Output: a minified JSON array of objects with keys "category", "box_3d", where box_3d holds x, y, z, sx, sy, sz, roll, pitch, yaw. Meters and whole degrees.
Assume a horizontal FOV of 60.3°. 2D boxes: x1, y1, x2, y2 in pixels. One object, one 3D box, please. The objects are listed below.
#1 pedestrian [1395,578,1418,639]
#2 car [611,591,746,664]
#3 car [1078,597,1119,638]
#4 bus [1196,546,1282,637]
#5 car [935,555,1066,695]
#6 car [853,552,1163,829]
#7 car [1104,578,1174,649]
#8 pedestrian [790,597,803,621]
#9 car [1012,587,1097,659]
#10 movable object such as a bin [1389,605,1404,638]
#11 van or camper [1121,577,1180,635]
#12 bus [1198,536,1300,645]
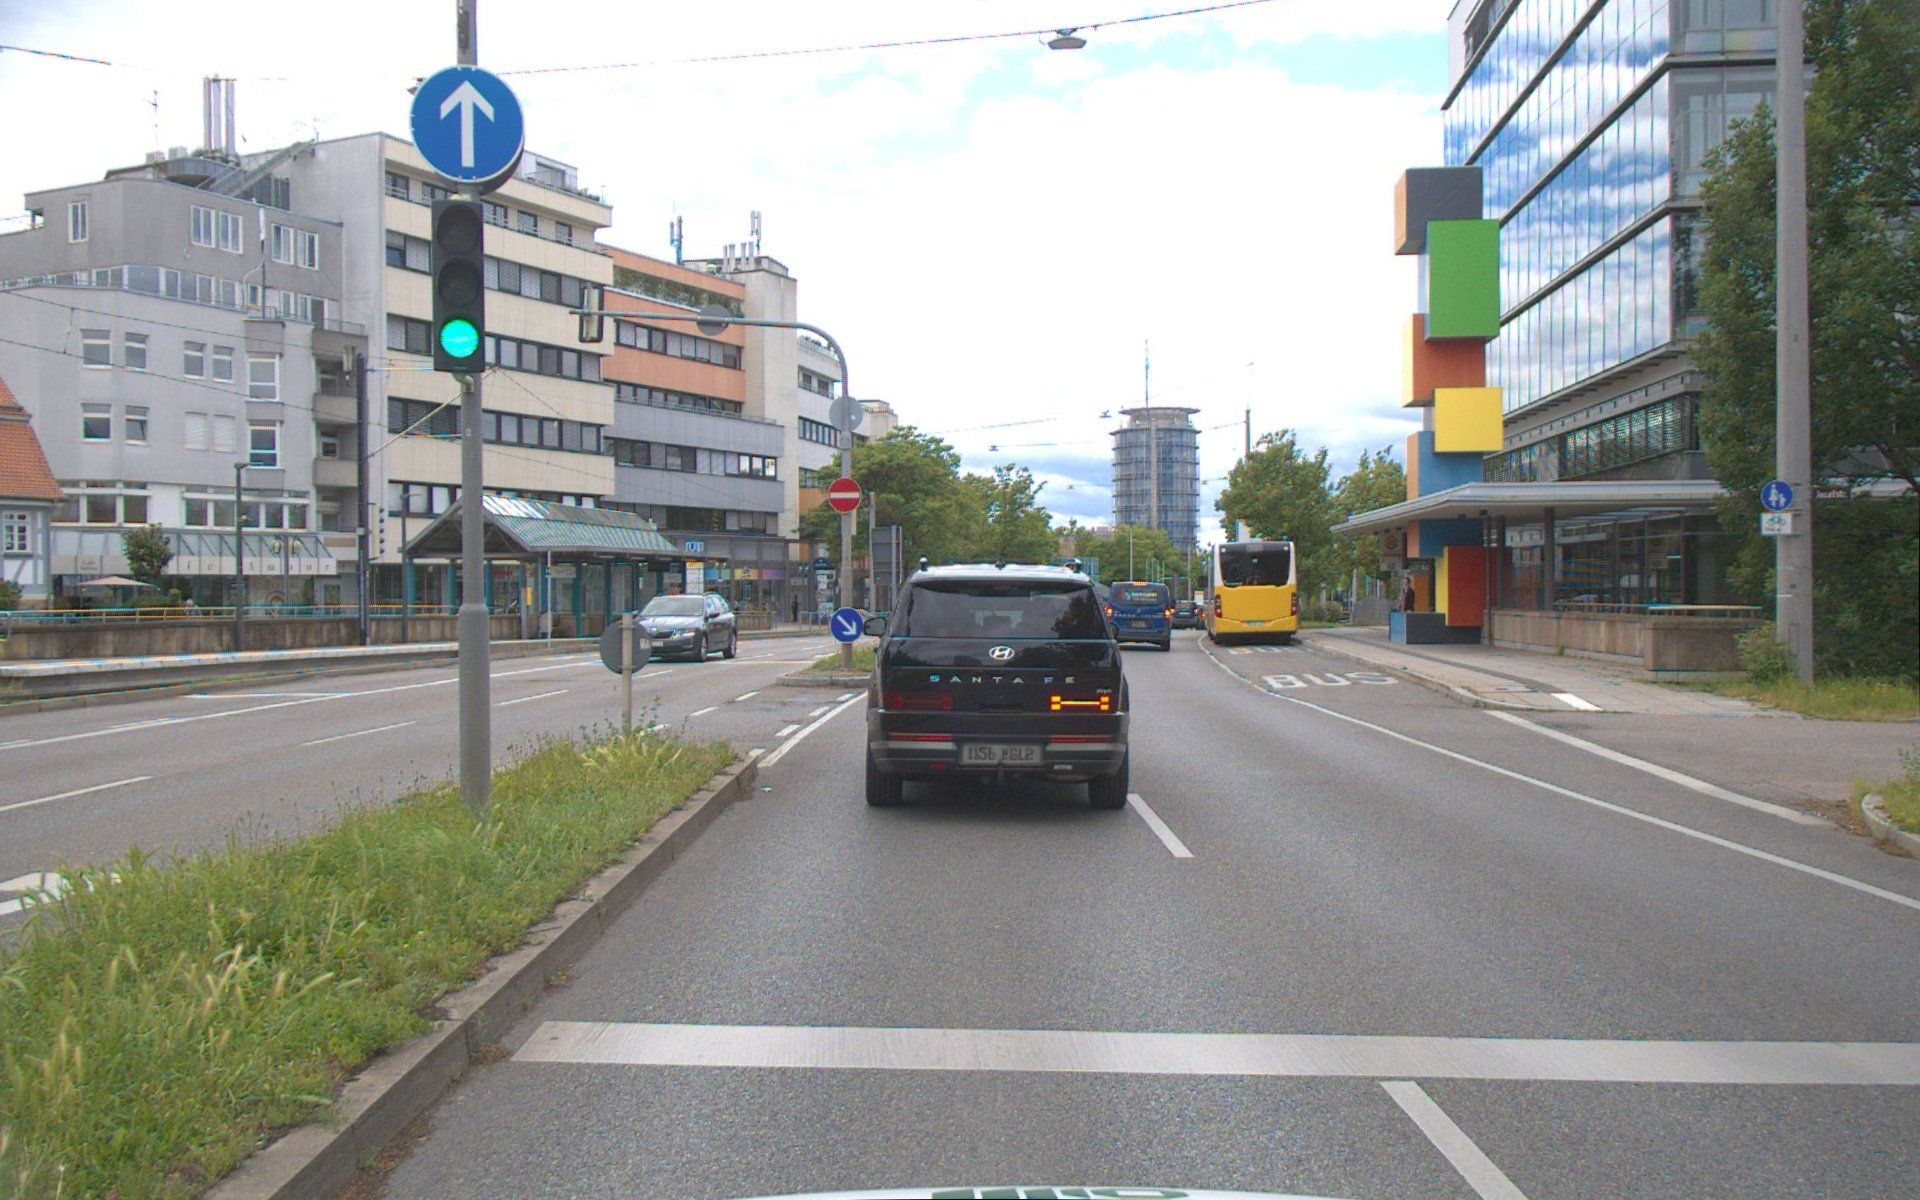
[{"category":"pedestrian","box_3d":[12.581,0.231,46.581,0.513,1.702,0.733,0,0,7]},{"category":"car","box_3d":[-6.073,0.554,36.167,1.760,1.480,4.615,0,0,5]},{"category":"car","box_3d":[7.020,0.851,83.765,1.862,1.891,4.713,1,1,7]},{"category":"bus","box_3d":[10.579,-0.296,63.485,2.889,3.166,9.984,-1,0,8]},{"category":"car","box_3d":[0.617,0.321,26.294,1.863,2.003,4.637,1,1,1]},{"category":"car","box_3d":[0.172,0.544,12.836,1.865,1.761,4.442,1,1,-5]},{"category":"car","box_3d":[5.109,0.345,47.752,1.862,1.891,4.712,1,1,5]},{"category":"pedestrian","box_3d":[-11.394,0.624,115.370,0.717,1.702,0.581,0,0,30]},{"category":"car","box_3d":[2.263,0.511,40.613,1.863,1.569,4.710,1,1,1]},{"category":"movable object such as a bin","box_3d":[12.142,0.592,46.010,0.348,0.913,0.462,0,0,7]},{"category":"van or camper","box_3d":[6.914,0.165,60.422,1.951,1.951,4.412,0,2,4]},{"category":"bus","box_3d":[9.292,-0.289,54.051,2.903,3.171,9.251,-1,0,8]}]
